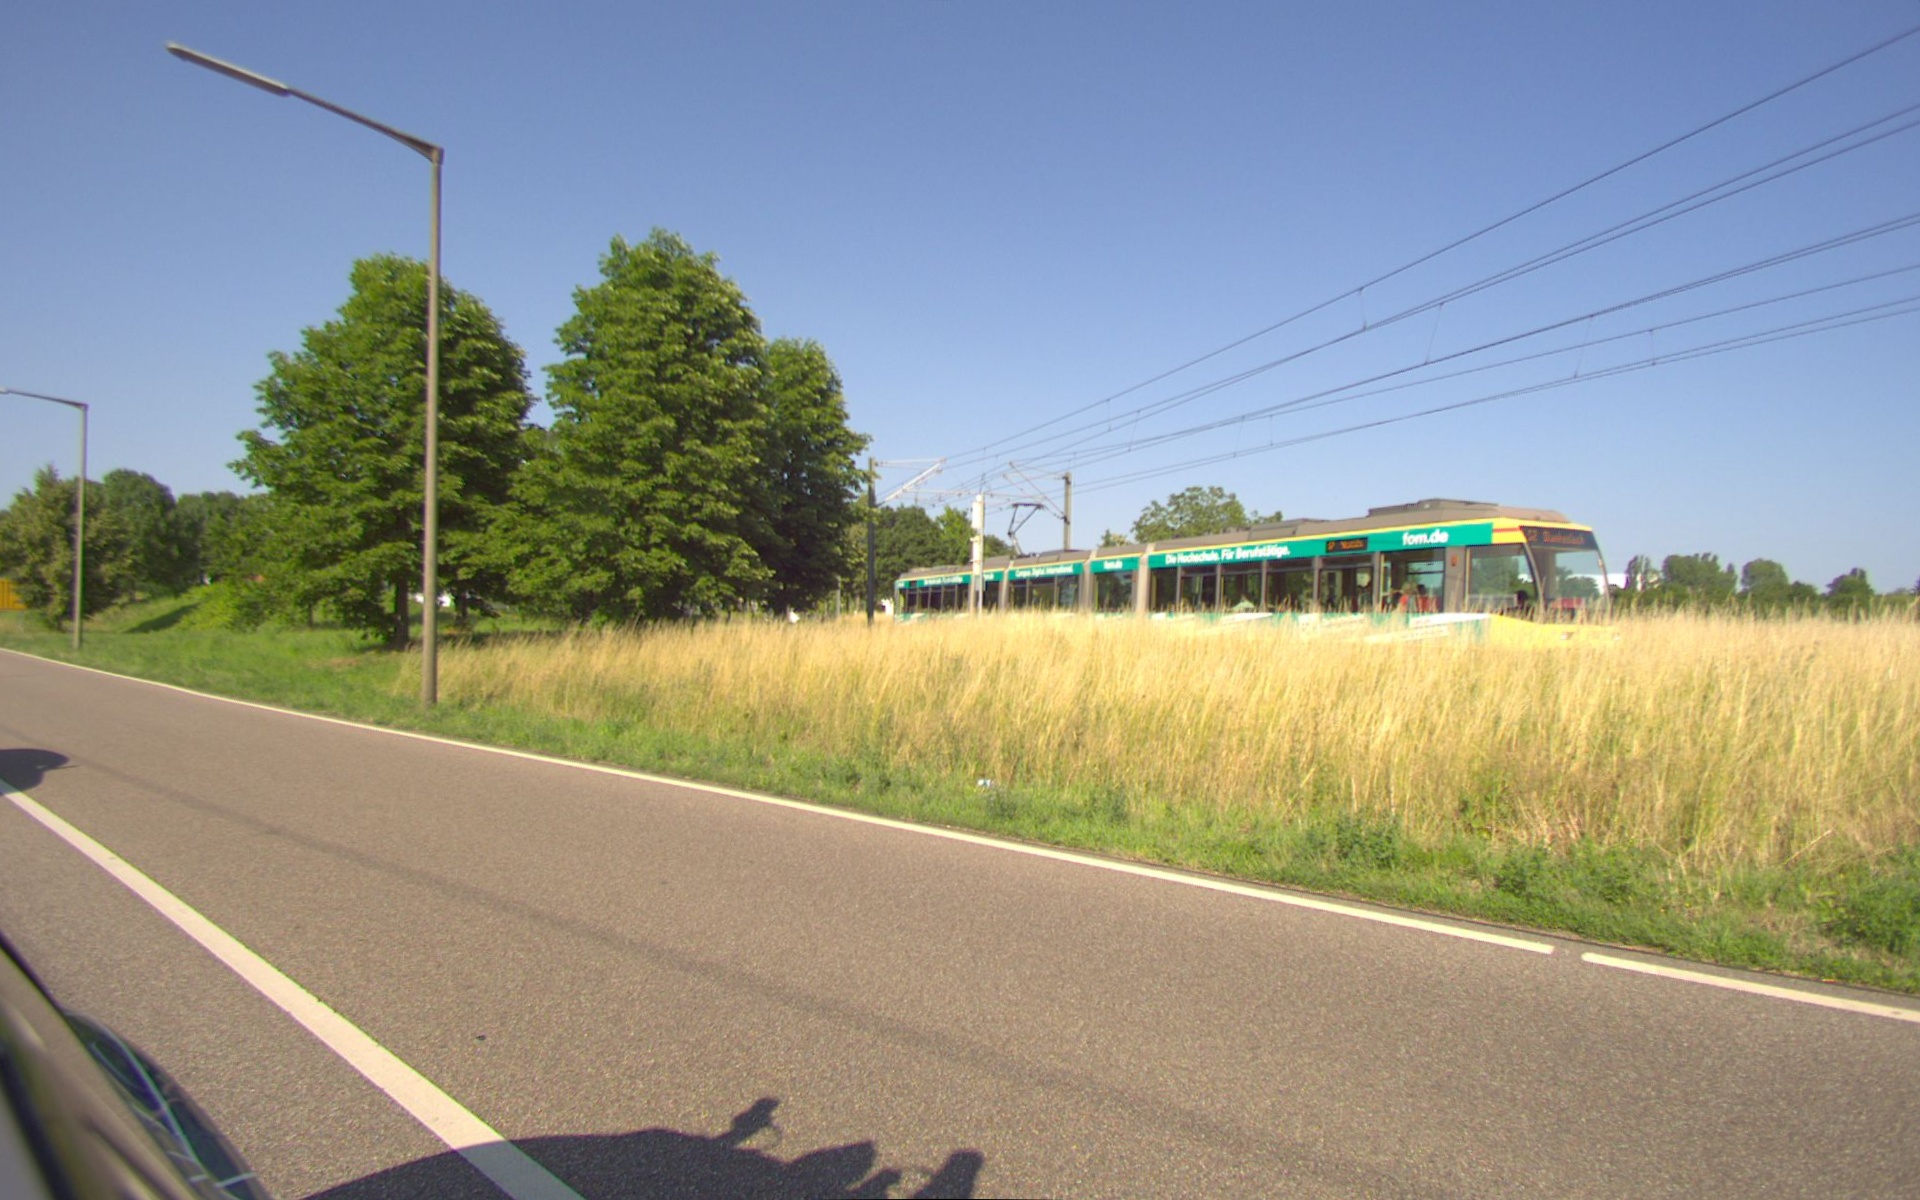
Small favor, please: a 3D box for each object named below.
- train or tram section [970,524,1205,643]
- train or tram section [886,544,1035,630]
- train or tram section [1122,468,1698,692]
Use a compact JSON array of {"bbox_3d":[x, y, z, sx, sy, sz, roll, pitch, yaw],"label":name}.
[{"bbox_3d":[3.922,-0.524,35.883,2.876,3.480,12.205,0,0,-21],"label":"train or tram section"},{"bbox_3d":[-0.357,-0.501,47.268,2.909,3.511,12.204,0,0,-20],"label":"train or tram section"},{"bbox_3d":[8.671,-0.466,23.453,2.865,3.595,14.309,0,1,-21],"label":"train or tram section"}]
